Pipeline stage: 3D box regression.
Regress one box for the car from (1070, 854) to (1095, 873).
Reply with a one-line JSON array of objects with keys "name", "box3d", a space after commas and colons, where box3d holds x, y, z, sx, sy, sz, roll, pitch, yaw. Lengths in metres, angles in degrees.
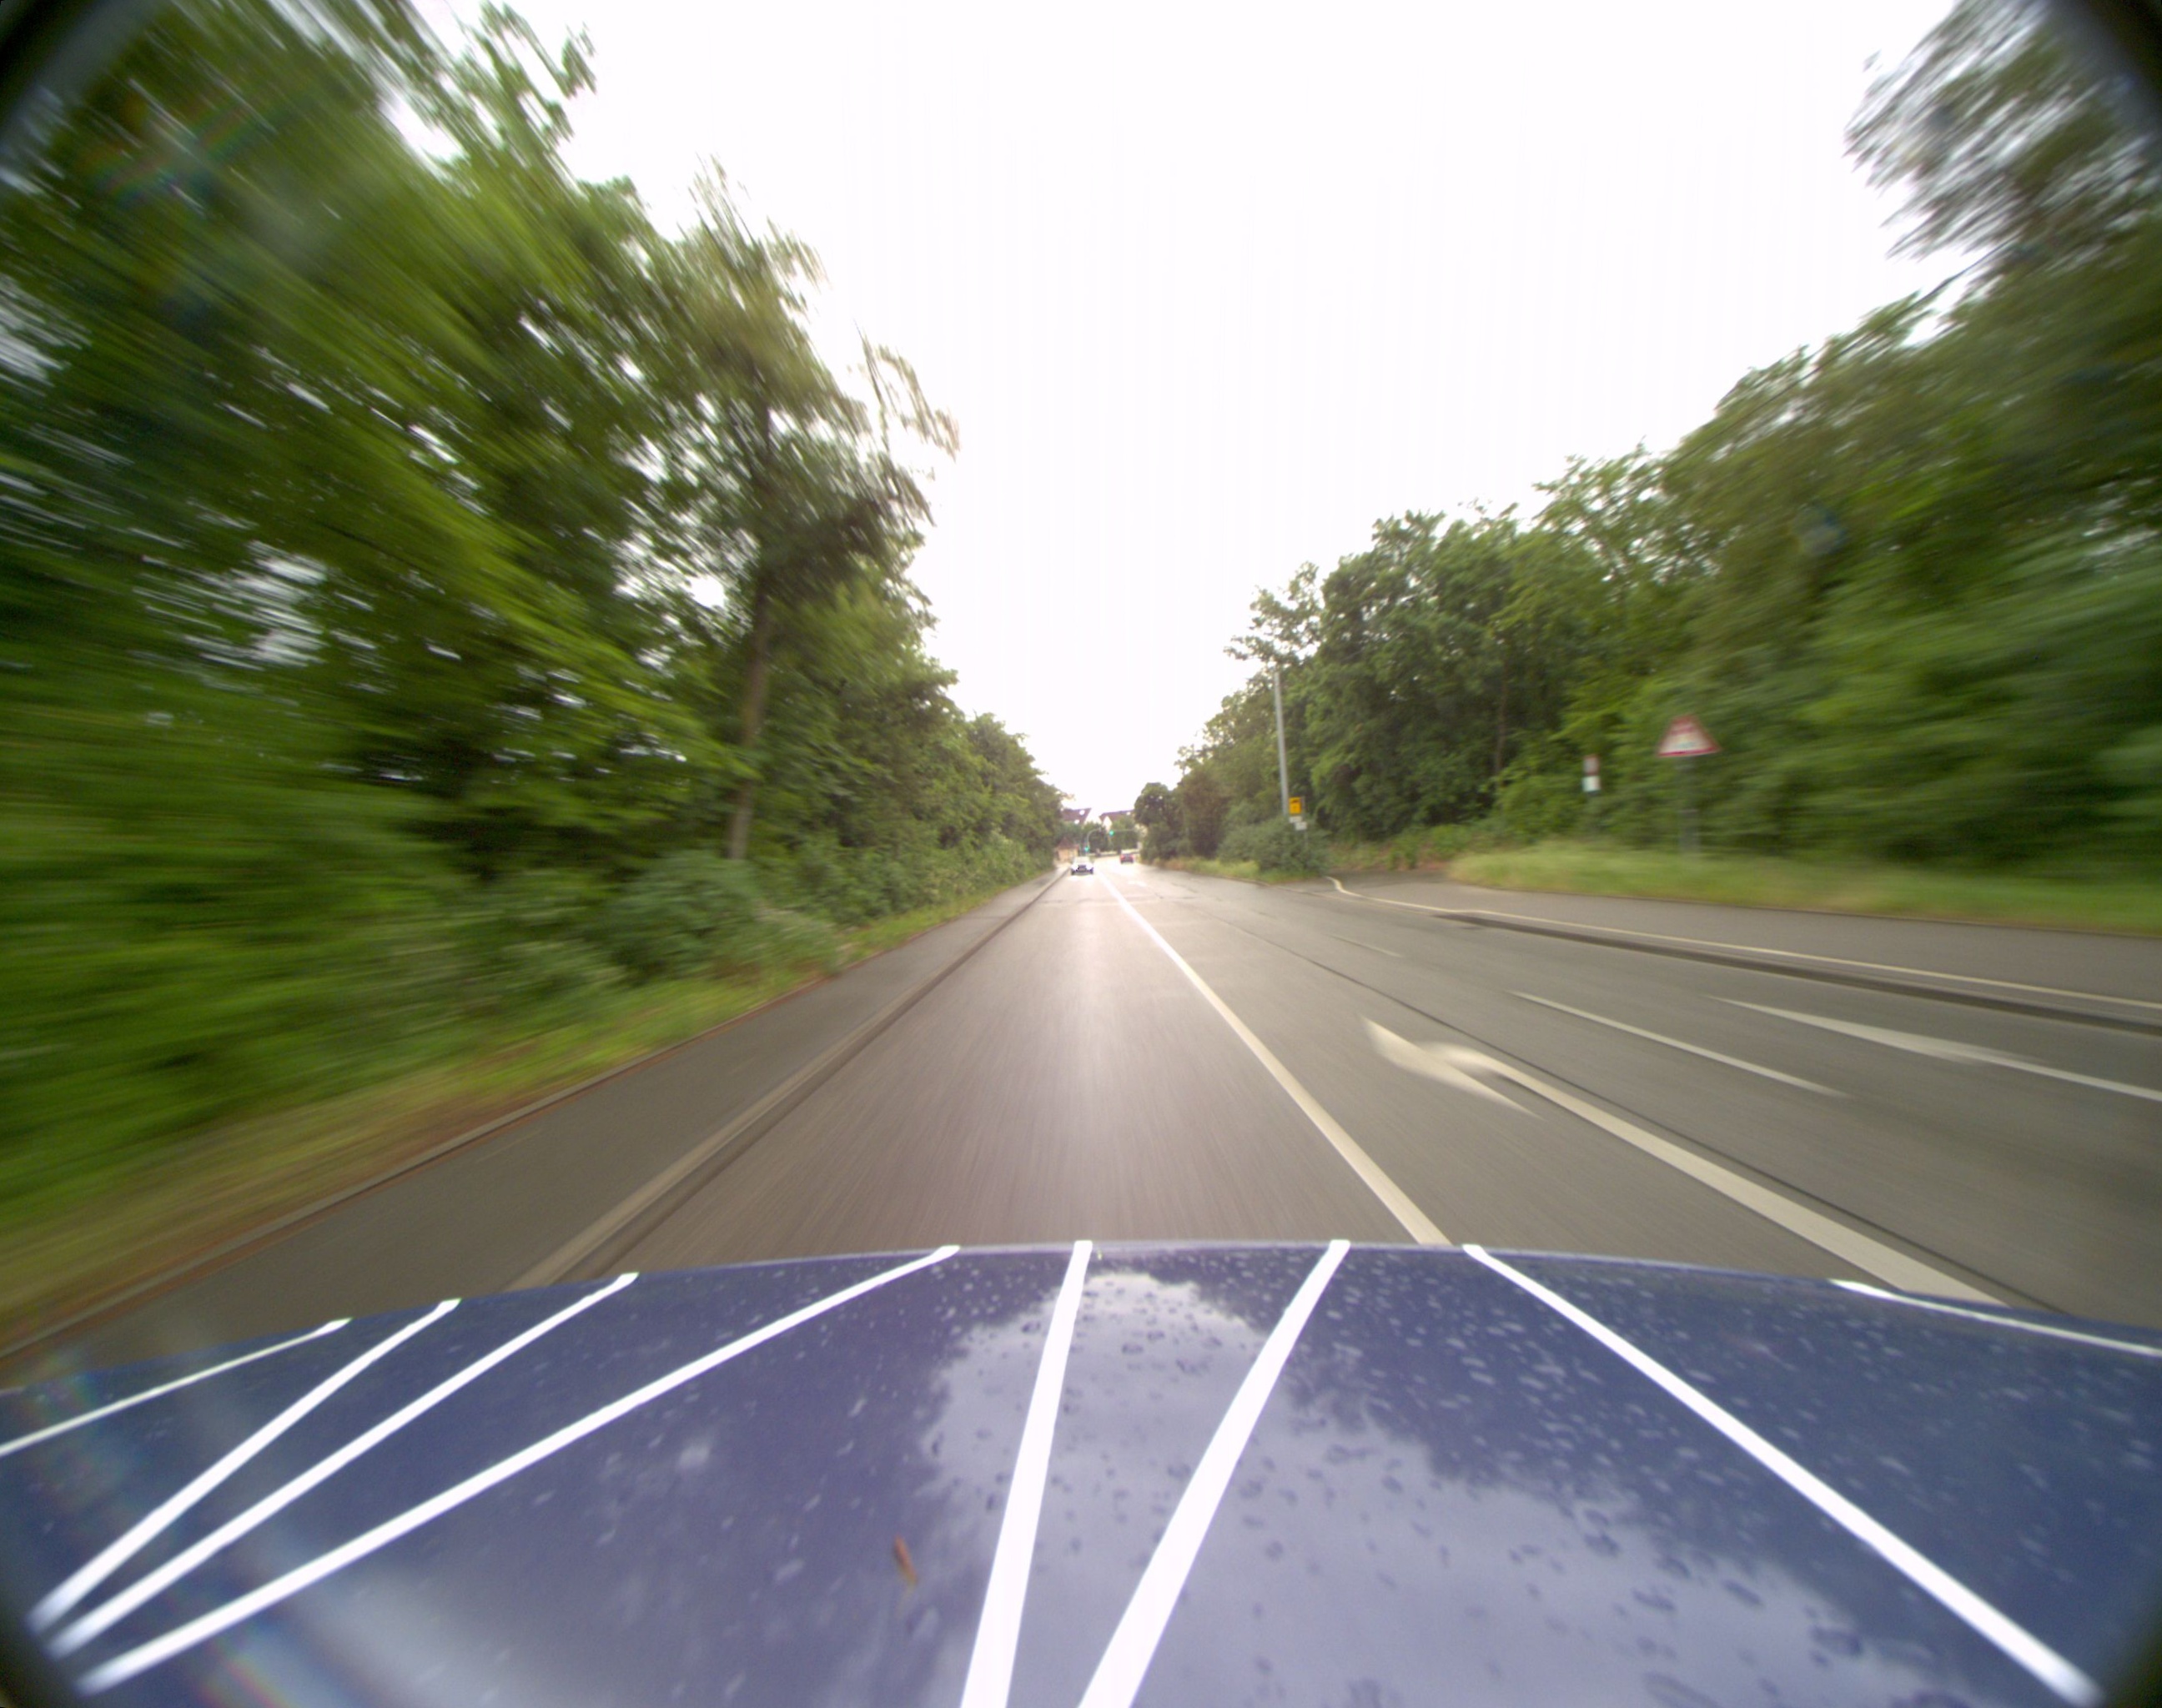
[{"name": "car", "box3d": [0.142, 0.800, 62.062, 1.831, 1.511, 4.002, 1, -2, 3]}]
